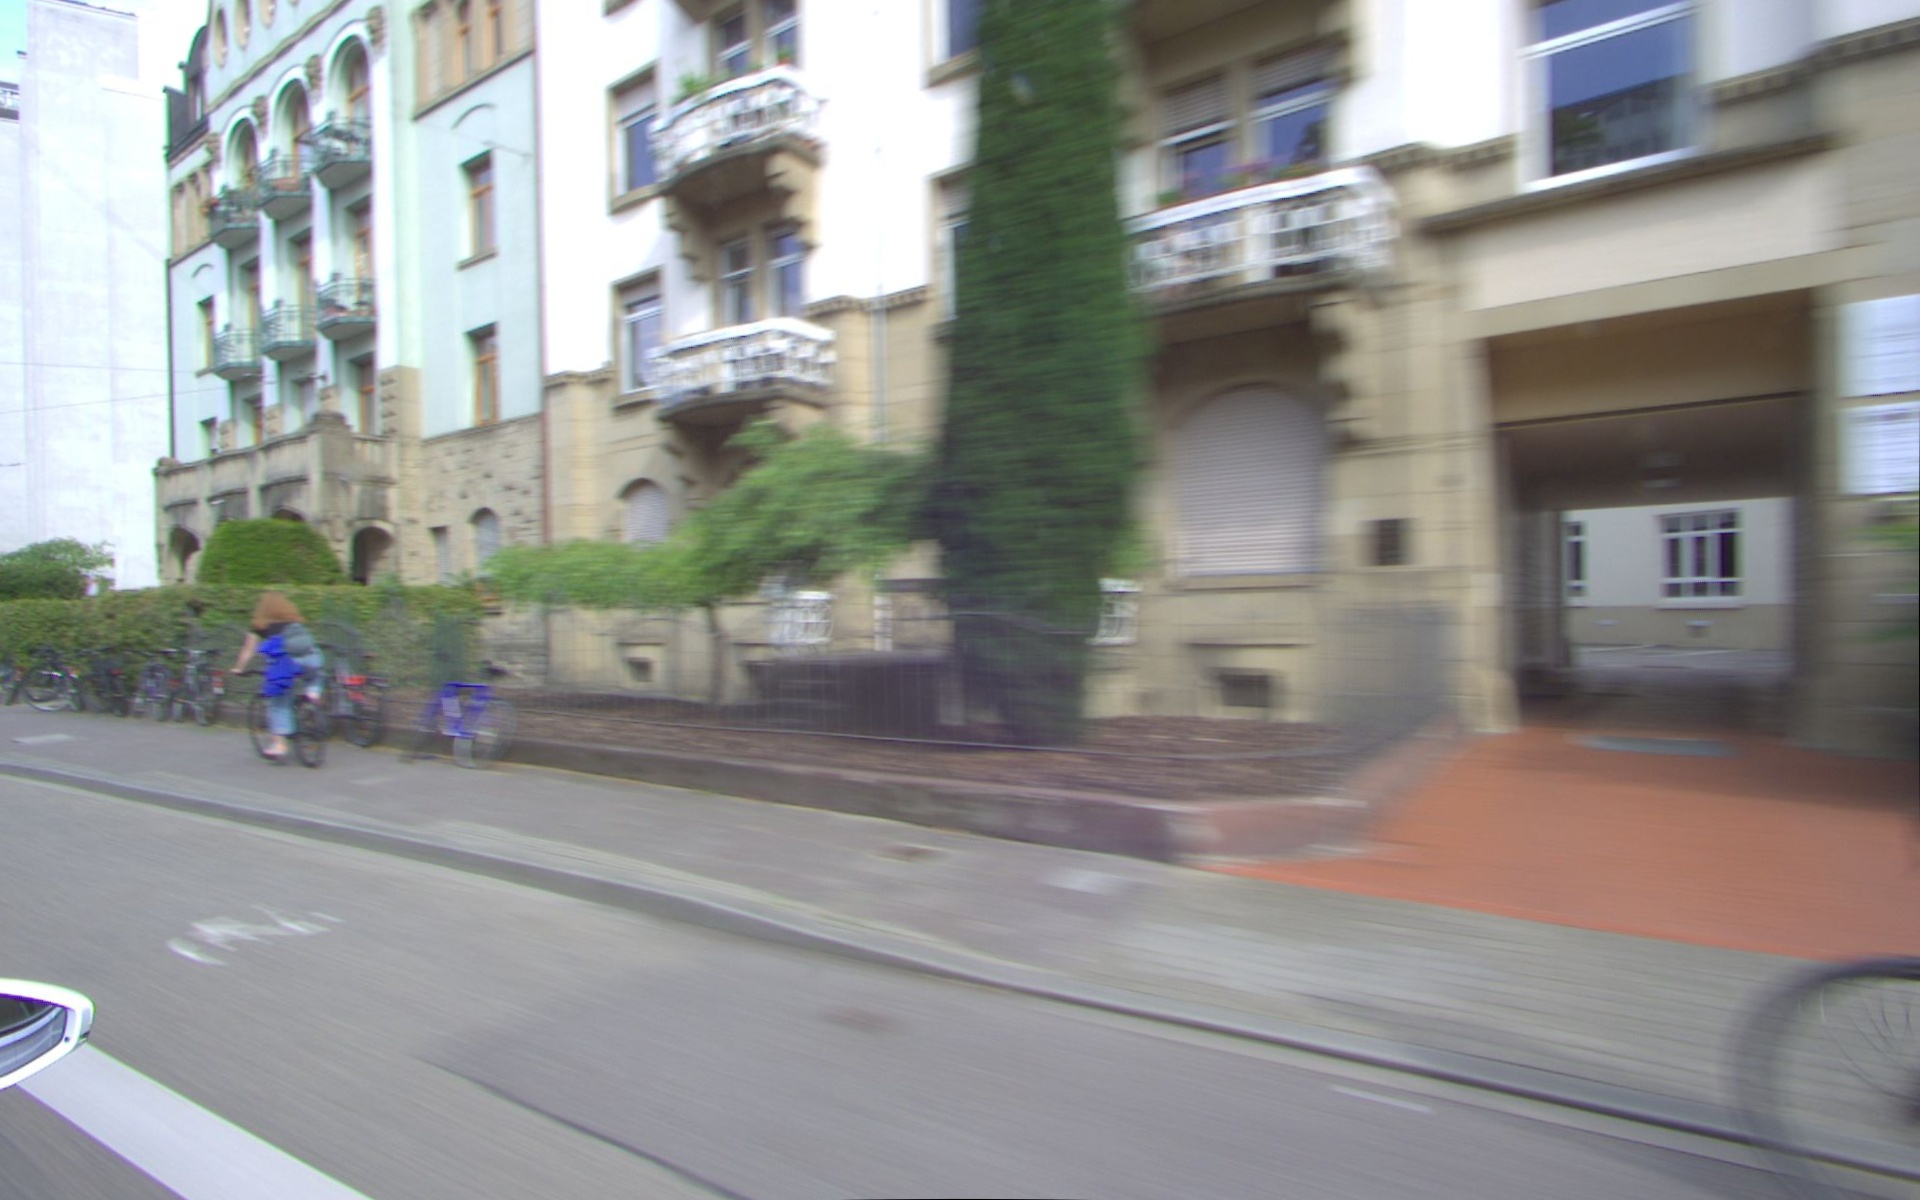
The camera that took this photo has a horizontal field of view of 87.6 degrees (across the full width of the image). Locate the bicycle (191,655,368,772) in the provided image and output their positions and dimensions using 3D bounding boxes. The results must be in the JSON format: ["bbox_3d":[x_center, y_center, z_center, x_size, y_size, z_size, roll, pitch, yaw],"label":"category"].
[{"bbox_3d":[-6.777,1.079,9.939,2.007,0.975,0.686,-1,2,33],"label":"bicycle"}]

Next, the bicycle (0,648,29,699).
[{"bbox_3d":[-18.363,1.393,19.301,1.645,0.919,0.384,-2,0,40],"label":"bicycle"}]

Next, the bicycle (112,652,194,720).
[{"bbox_3d":[-11.824,1.237,14.660,1.643,0.919,0.484,-2,0,35],"label":"bicycle"}]

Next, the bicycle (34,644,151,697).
[{"bbox_3d":[-17.064,1.365,19.743,0.480,0.919,1.655,-1,0,33],"label":"bicycle"}]

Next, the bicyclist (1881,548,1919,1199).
[{"bbox_3d":[2.615,0.672,1.951,1.095,1.590,0.637,-1,-1,33],"label":"bicyclist"}]

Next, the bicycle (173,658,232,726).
[{"bbox_3d":[-10.342,1.239,13.660,1.182,0.864,0.277,-2,1,36],"label":"bicycle"}]

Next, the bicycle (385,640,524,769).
[{"bbox_3d":[-4.856,0.956,9.572,1.736,1.118,0.390,-1,1,35],"label":"bicycle"}]

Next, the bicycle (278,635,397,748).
[{"bbox_3d":[-6.986,0.986,11.201,1.895,1.157,0.390,-1,1,35],"label":"bicycle"}]

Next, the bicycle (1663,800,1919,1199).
[{"bbox_3d":[2.629,1.022,1.933,2.042,0.993,0.637,-1,-2,33],"label":"bicycle"}]

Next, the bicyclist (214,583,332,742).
[{"bbox_3d":[-6.808,0.592,9.935,0.789,1.490,0.645,0,2,32],"label":"bicyclist"}]

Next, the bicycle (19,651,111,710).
[{"bbox_3d":[-14.882,1.329,16.650,1.637,0.919,0.486,-2,0,24],"label":"bicycle"}]

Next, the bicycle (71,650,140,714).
[{"bbox_3d":[-13.317,1.256,15.596,1.644,0.919,0.483,-2,0,38],"label":"bicycle"}]
